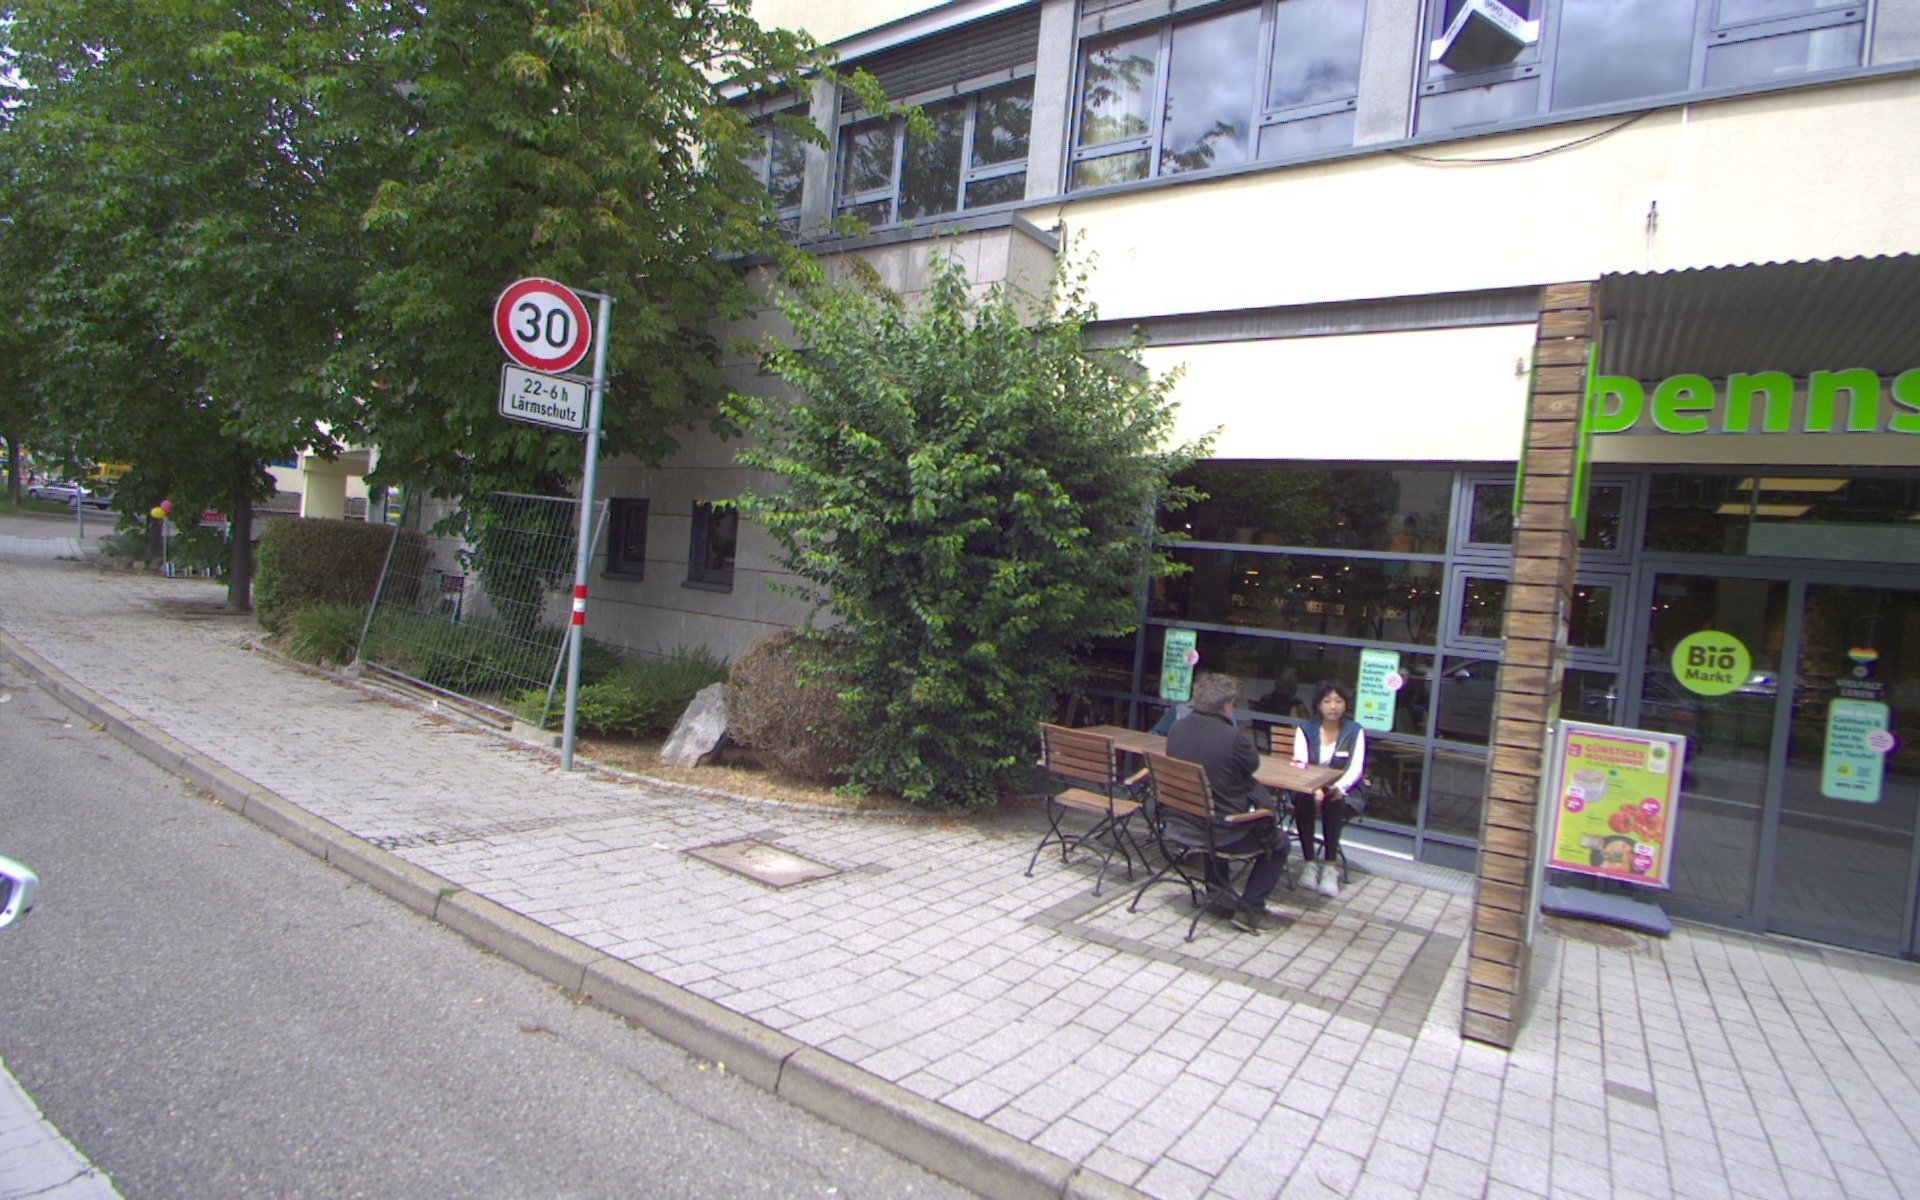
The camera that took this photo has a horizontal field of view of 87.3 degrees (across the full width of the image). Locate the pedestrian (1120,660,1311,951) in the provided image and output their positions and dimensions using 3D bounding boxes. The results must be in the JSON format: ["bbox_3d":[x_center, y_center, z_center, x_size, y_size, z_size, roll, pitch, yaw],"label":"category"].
[{"bbox_3d":[1.334,1.022,5.238,0.686,1.333,0.571,5,1,-44],"label":"pedestrian"}]

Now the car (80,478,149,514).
[{"bbox_3d":[-61.801,-7.600,73.597,1.710,2.038,3.768,6,0,1],"label":"car"}]

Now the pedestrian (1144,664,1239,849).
[{"bbox_3d":[1.647,1.080,7.121,0.492,1.196,0.523,6,1,19],"label":"pedestrian"}]

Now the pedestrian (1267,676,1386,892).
[{"bbox_3d":[2.301,1.113,6.297,0.494,1.219,0.577,6,1,30],"label":"pedestrian"}]

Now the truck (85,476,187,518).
[{"bbox_3d":[-57.717,-7.180,70.599,2.049,2.038,5.618,6,-1,5],"label":"truck"}]
